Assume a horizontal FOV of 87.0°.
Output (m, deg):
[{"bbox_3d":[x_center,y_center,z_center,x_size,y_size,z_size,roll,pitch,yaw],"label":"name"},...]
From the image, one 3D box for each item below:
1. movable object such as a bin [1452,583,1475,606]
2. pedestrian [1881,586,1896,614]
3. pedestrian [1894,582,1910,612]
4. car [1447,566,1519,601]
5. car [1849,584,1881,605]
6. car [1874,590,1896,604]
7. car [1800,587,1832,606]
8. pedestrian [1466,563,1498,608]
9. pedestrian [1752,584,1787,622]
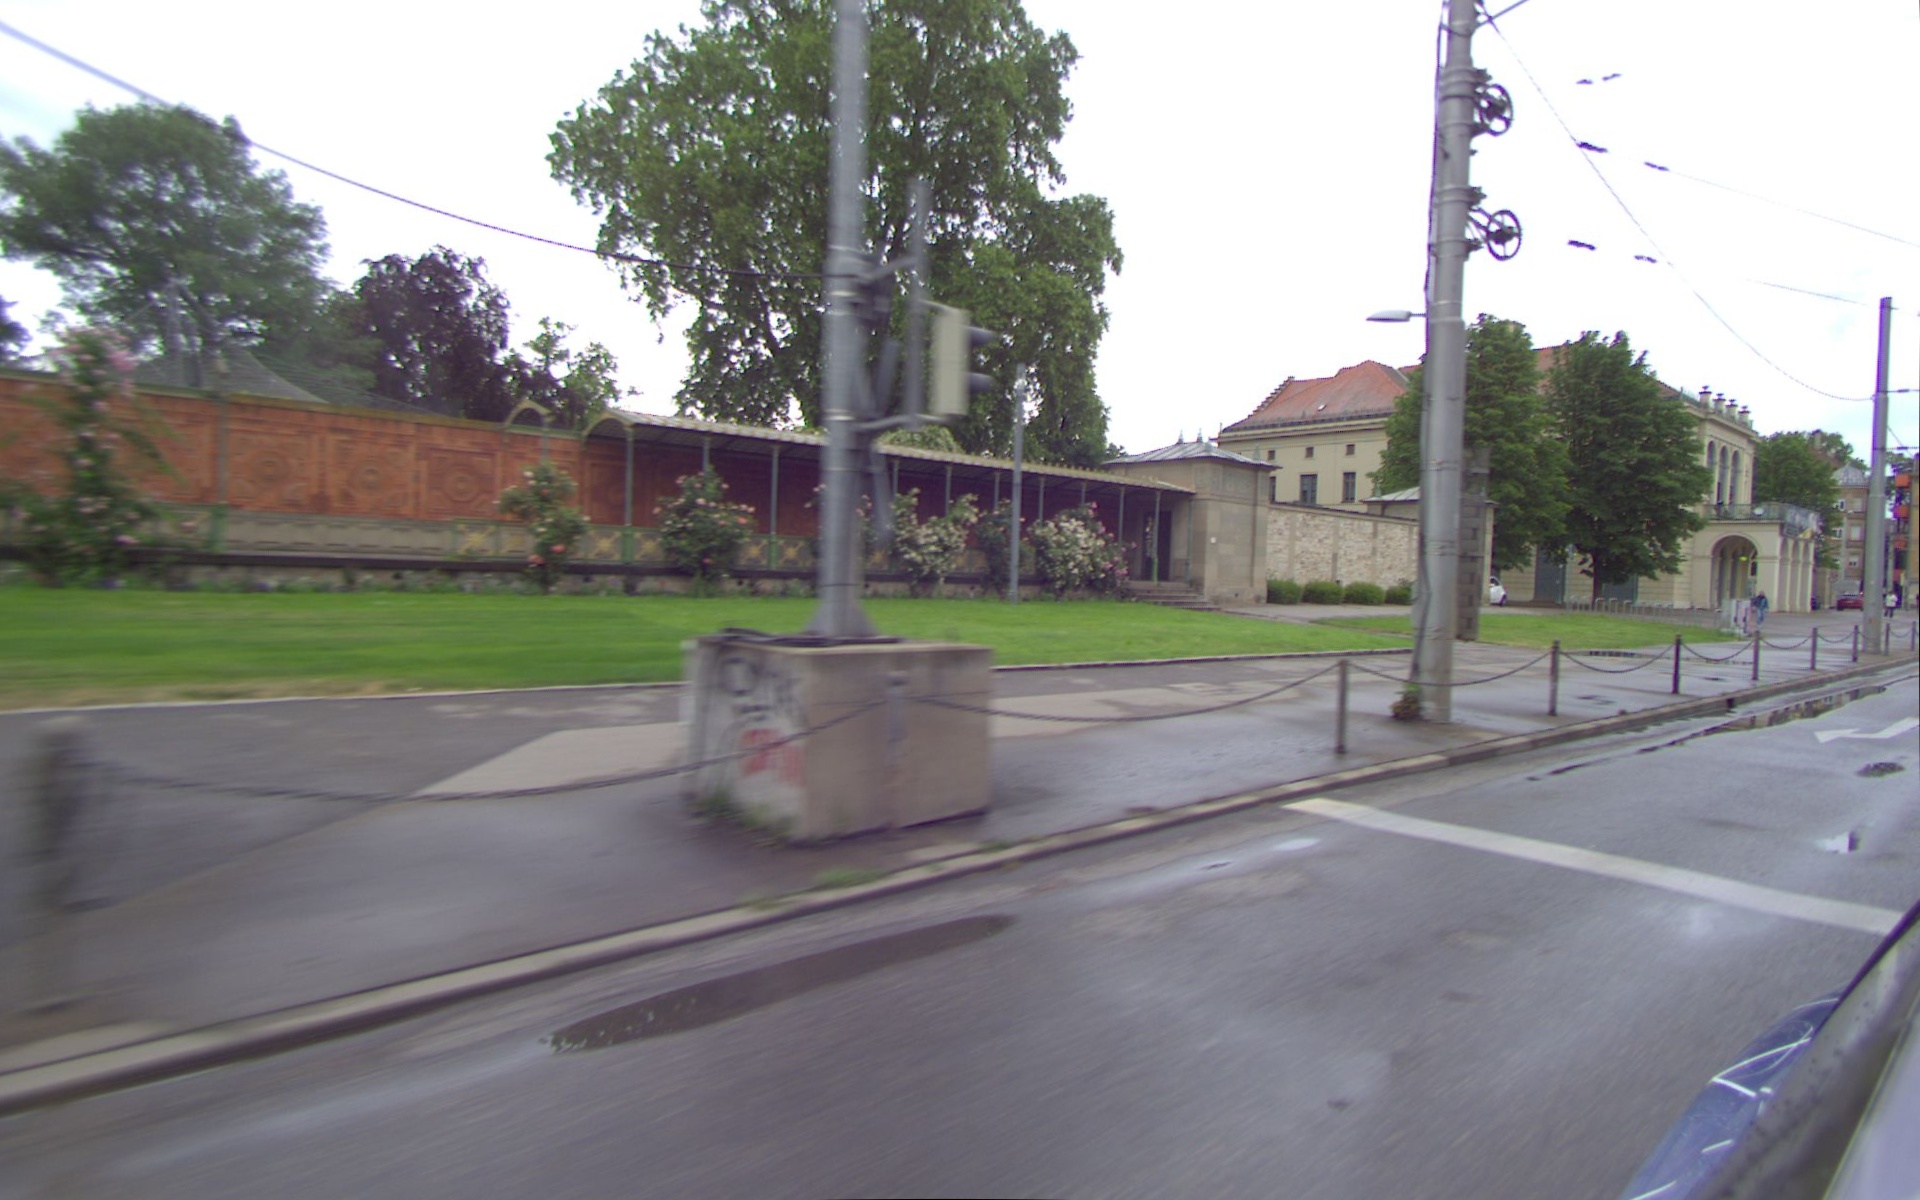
[{"bbox_3d":[19.964,-0.236,40.154,1.170,0.882,0.343,0,2,-39],"label":"movable object such as a bin"},{"bbox_3d":[57.383,-0.011,62.568,0.627,1.664,0.768,3,3,43],"label":"pedestrian"},{"bbox_3d":[57.669,-0.187,61.939,0.825,1.757,0.595,-1,2,-42],"label":"pedestrian"},{"bbox_3d":[25.376,-0.806,49.084,3.533,1.473,1.841,3,1,-40],"label":"car"},{"bbox_3d":[76.632,-0.497,85.714,1.827,1.602,3.937,3,3,44],"label":"car"},{"bbox_3d":[111.892,-0.373,122.462,1.827,1.602,3.937,3,3,44],"label":"car"},{"bbox_3d":[74.716,-0.315,88.326,1.859,1.567,4.003,2,2,43],"label":"car"},{"bbox_3d":[20.465,-0.582,39.662,0.964,1.731,0.730,0,2,-39],"label":"pedestrian"},{"bbox_3d":[35.639,0.138,44.570,0.654,1.610,0.868,2,3,-14],"label":"pedestrian"}]
